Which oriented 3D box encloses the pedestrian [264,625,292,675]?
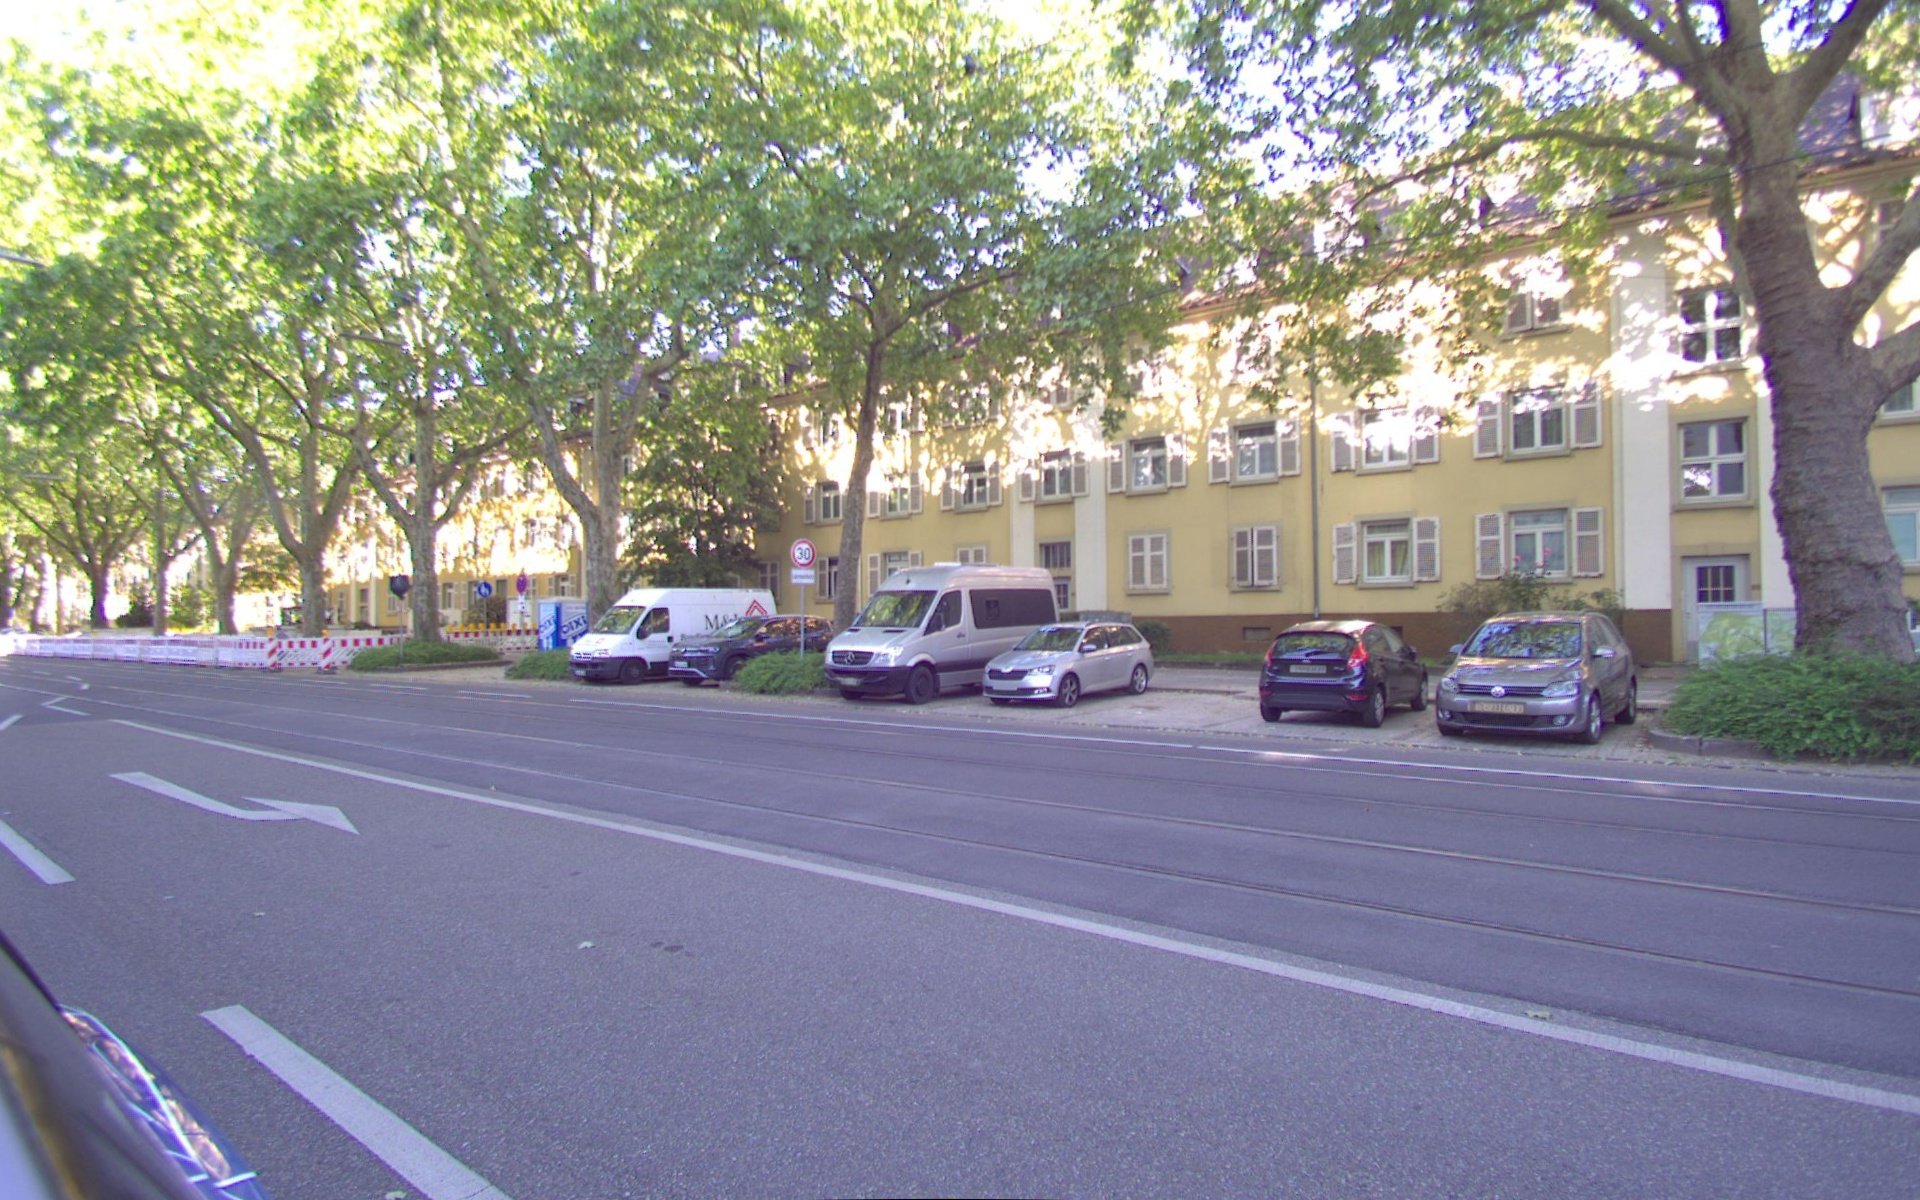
[{"bbox_3d":[-24.865,1.815,36.896,0.575,1.759,0.651,-1,0,2],"label":"pedestrian"}]

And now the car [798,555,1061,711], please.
[{"bbox_3d":[-0.425,0.608,20.448,2.221,2.702,5.596,-2,-1,38],"label":"car"}]

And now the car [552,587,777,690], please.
[{"bbox_3d":[-7.559,0.963,26.375,2.222,2.394,5.336,-2,-2,40],"label":"car"}]

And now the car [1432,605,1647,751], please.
[{"bbox_3d":[7.744,0.898,13.367,1.672,1.592,3.928,-2,-1,42],"label":"car"}]

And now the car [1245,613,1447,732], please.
[{"bbox_3d":[5.967,1.000,15.419,1.671,1.509,3.756,-2,-1,41],"label":"car"}]

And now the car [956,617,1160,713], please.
[{"bbox_3d":[1.913,1.120,18.836,1.773,1.509,4.031,-2,-1,41],"label":"car"}]

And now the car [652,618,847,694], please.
[{"bbox_3d":[-4.977,1.275,24.449,1.772,1.664,4.570,-2,-2,38],"label":"car"}]

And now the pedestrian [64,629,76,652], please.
[{"bbox_3d":[-75.497,3.453,85.864,0.722,1.900,0.666,-1,0,-42],"label":"pedestrian"}]
